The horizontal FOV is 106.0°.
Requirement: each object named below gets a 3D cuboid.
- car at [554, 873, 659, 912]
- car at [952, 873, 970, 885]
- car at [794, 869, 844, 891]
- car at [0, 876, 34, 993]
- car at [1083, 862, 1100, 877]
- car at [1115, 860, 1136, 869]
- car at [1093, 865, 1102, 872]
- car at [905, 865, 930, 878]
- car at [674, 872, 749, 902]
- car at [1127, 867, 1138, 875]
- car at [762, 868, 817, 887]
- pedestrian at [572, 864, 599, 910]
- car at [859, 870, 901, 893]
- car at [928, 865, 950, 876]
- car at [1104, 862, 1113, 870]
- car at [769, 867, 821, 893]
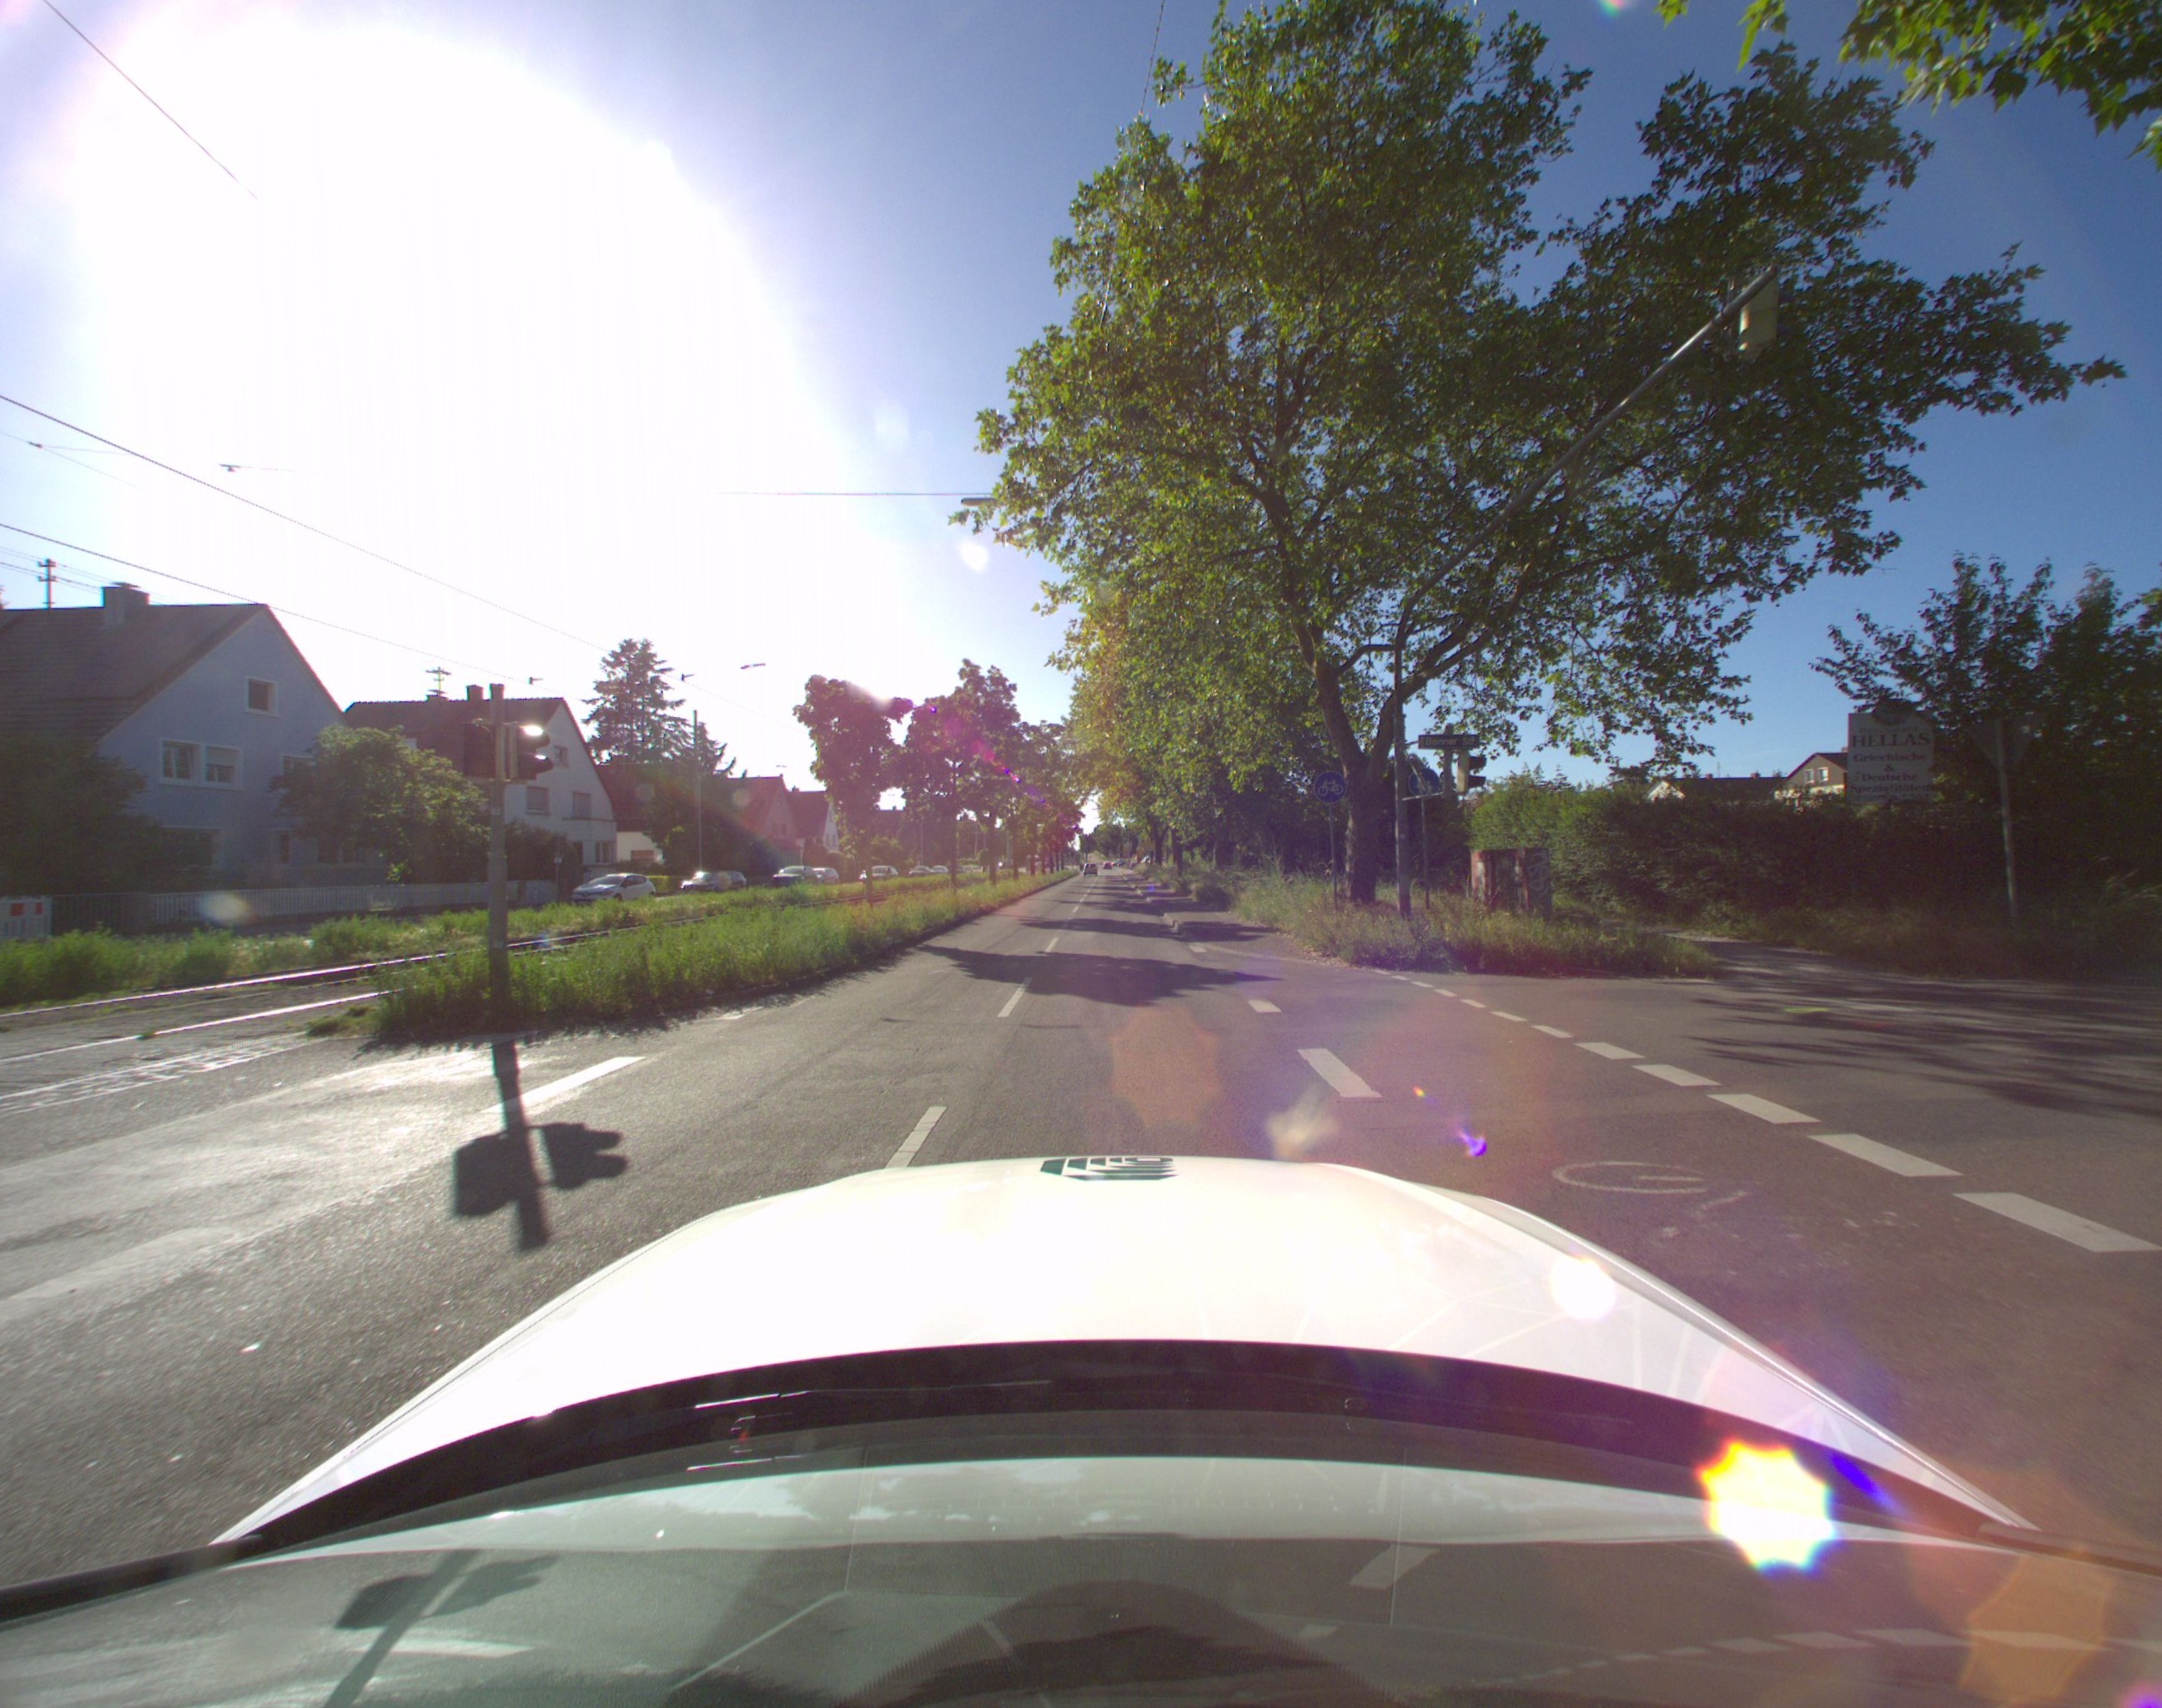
[{"bbox_3d":[-19.949,1.581,34.484,1.853,1.542,4.229,0,-1,1],"label":"car"},{"bbox_3d":[-17.255,3.581,117.323,1.771,1.707,4.229,0,-1,1],"label":"car"},{"bbox_3d":[-19.223,1.909,59.994,1.986,1.545,4.782,0,-1,2],"label":"car"},{"bbox_3d":[-15.928,1.073,9.315,1.986,1.604,4.474,0,-1,1],"label":"car"},{"bbox_3d":[1.210,1.791,94.193,1.853,1.601,4.229,0,-1,1],"label":"car"},{"bbox_3d":[11.451,2.760,210.278,5.169,2.275,1.986,1,-1,-23],"label":"car"},{"bbox_3d":[3.564,3.185,177.328,1.986,1.604,4.474,0,-1,1],"label":"car"},{"bbox_3d":[-18.470,2.020,92.251,1.853,1.413,4.159,0,-1,1],"label":"car"},{"bbox_3d":[-19.592,1.718,43.406,1.723,1.466,4.603,0,-1,2],"label":"car"},{"bbox_3d":[10.297,3.499,164.092,1.986,1.604,4.474,0,-1,1],"label":"car"},{"bbox_3d":[-24.596,1.988,68.830,3.904,1.452,1.889,1,0,1],"label":"car"},{"bbox_3d":[-22.340,1.477,36.746,0.678,2.014,0.772,0,-1,1],"label":"pedestrian"},{"bbox_3d":[-14.218,1.901,57.891,1.654,1.552,4.811,0,-1,2],"label":"car"},{"bbox_3d":[-17.786,2.073,102.276,1.853,1.431,4.463,0,-1,1],"label":"car"},{"bbox_3d":[5.759,2.560,172.050,1.785,1.559,4.229,0,-1,1],"label":"car"},{"bbox_3d":[-19.154,1.694,54.658,1.741,1.651,4.556,0,-1,2],"label":"car"}]
